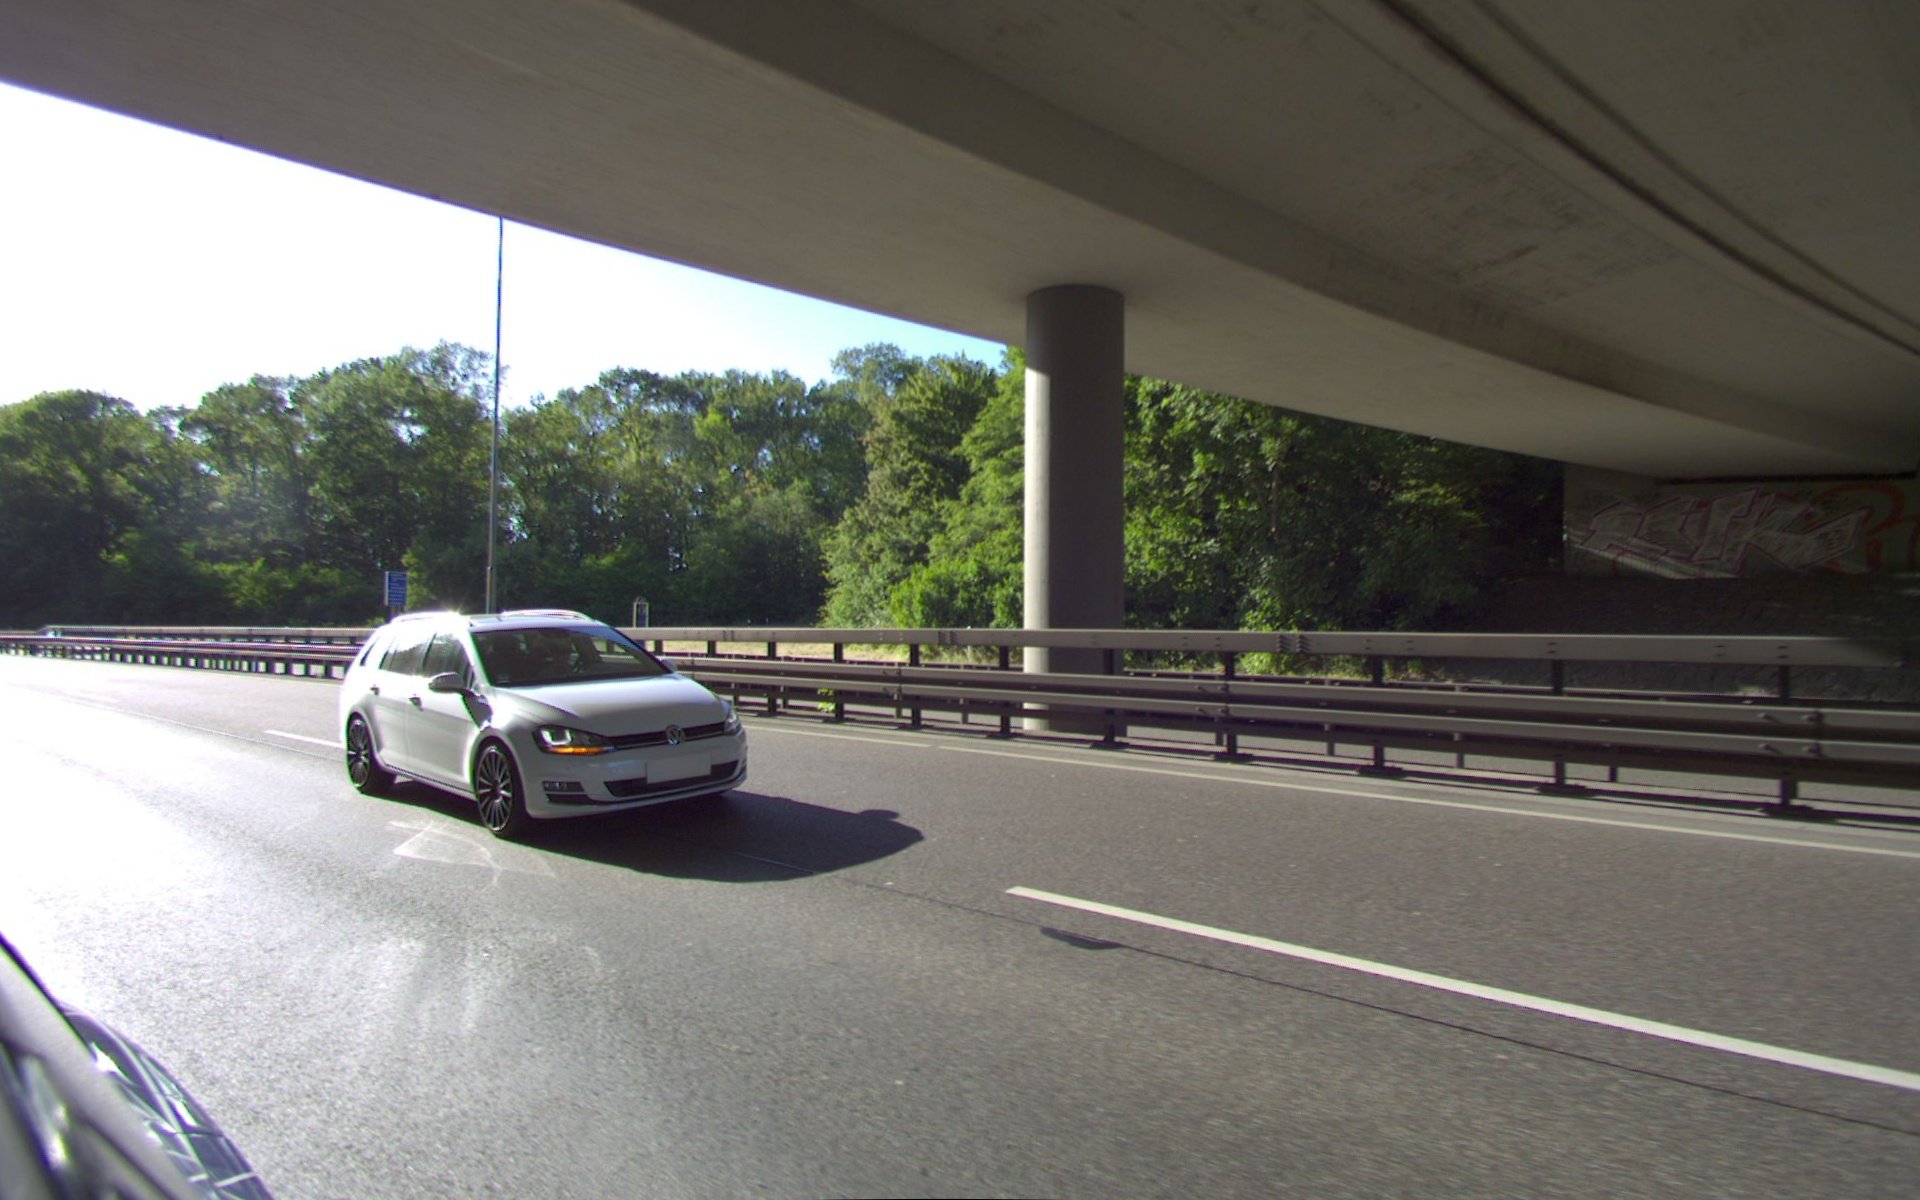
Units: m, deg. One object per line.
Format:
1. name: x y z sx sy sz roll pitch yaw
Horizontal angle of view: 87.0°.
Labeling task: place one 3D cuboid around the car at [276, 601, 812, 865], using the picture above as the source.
1. car: -3.774 0.826 8.427 5.597 1.519 1.909 -2 -1 42
